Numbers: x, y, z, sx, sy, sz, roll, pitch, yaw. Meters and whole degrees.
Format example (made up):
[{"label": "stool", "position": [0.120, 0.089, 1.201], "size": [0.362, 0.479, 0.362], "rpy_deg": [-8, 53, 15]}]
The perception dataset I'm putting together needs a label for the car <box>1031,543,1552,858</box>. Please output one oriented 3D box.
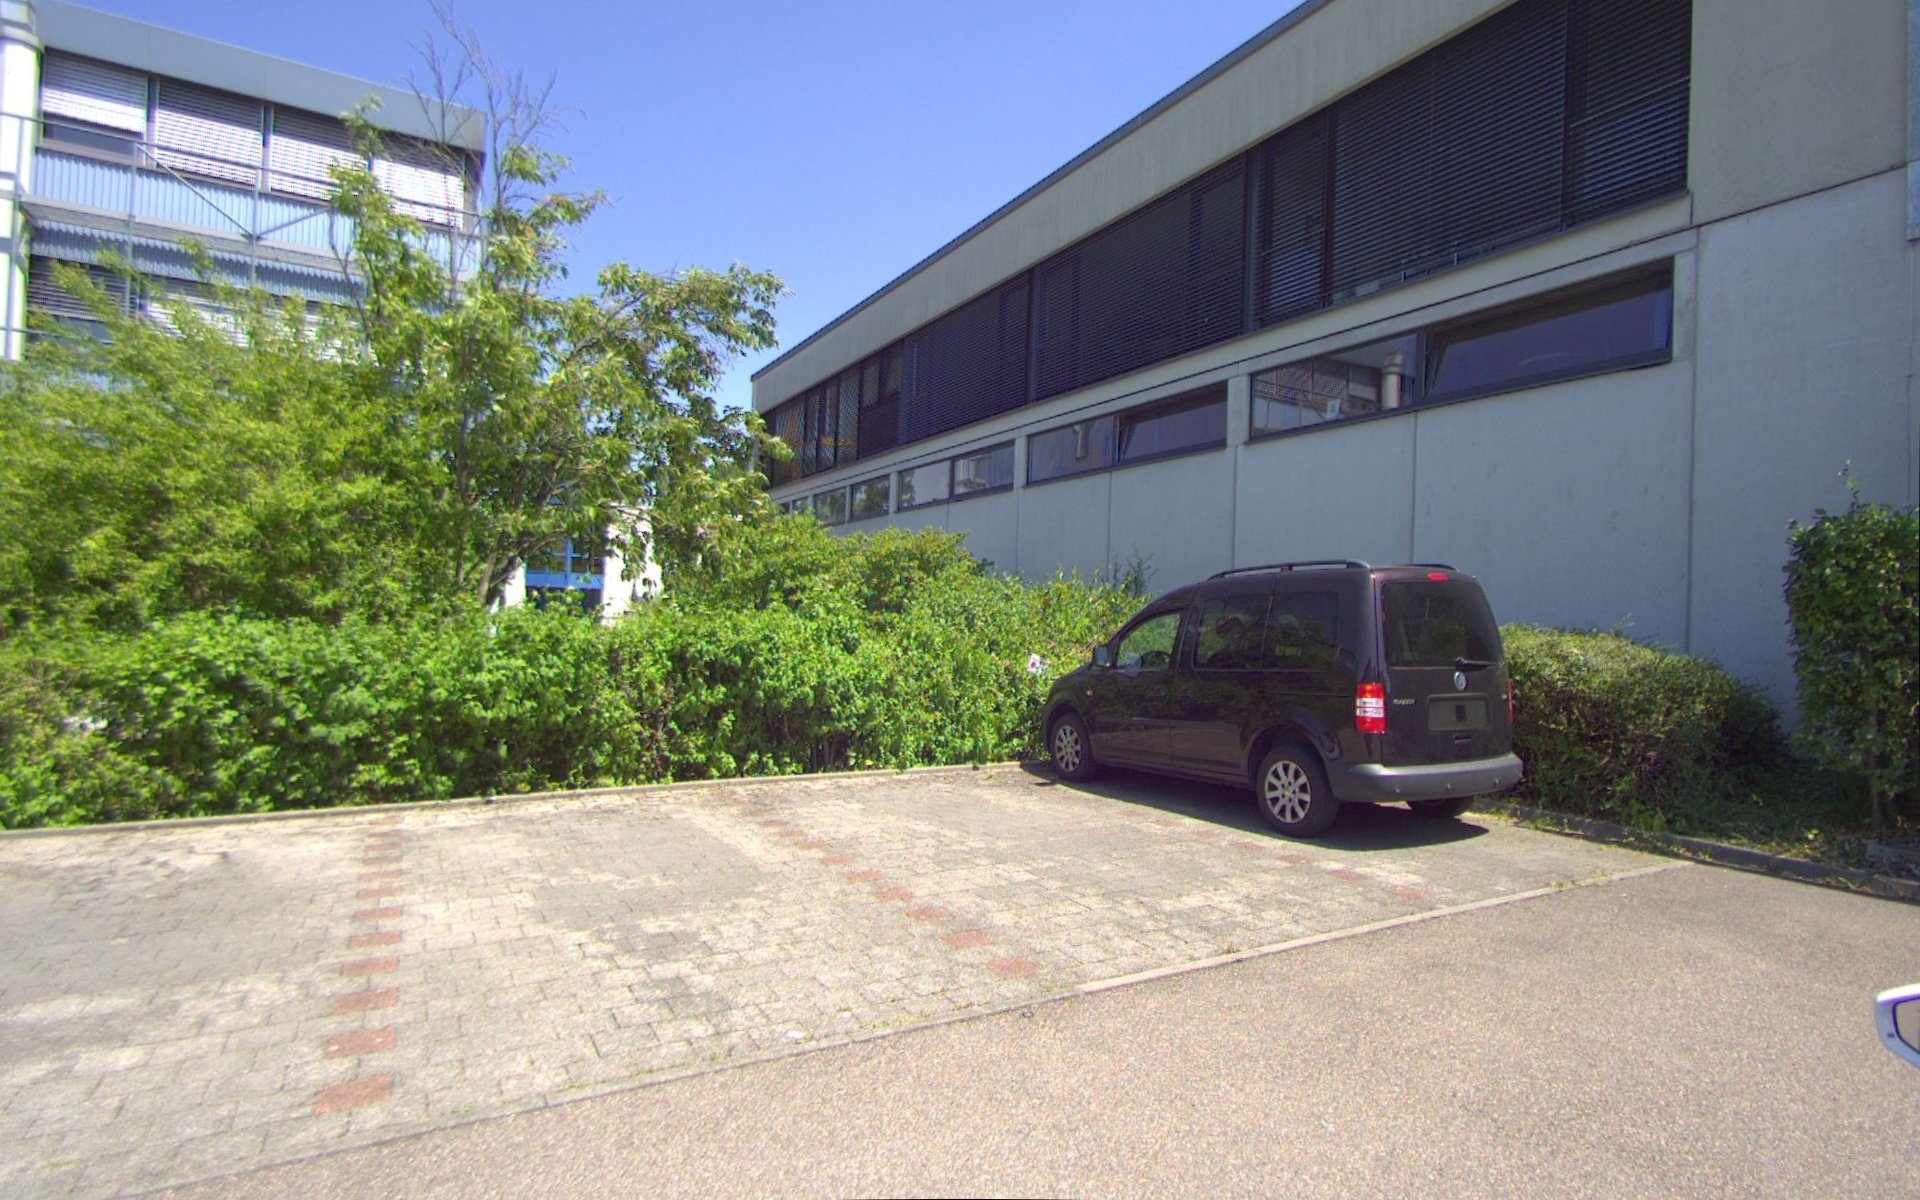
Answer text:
[{"label": "car", "position": [2.376, 0.636, 8.273], "size": [1.658, 1.909, 4.041], "rpy_deg": [1, -1, -28]}]
